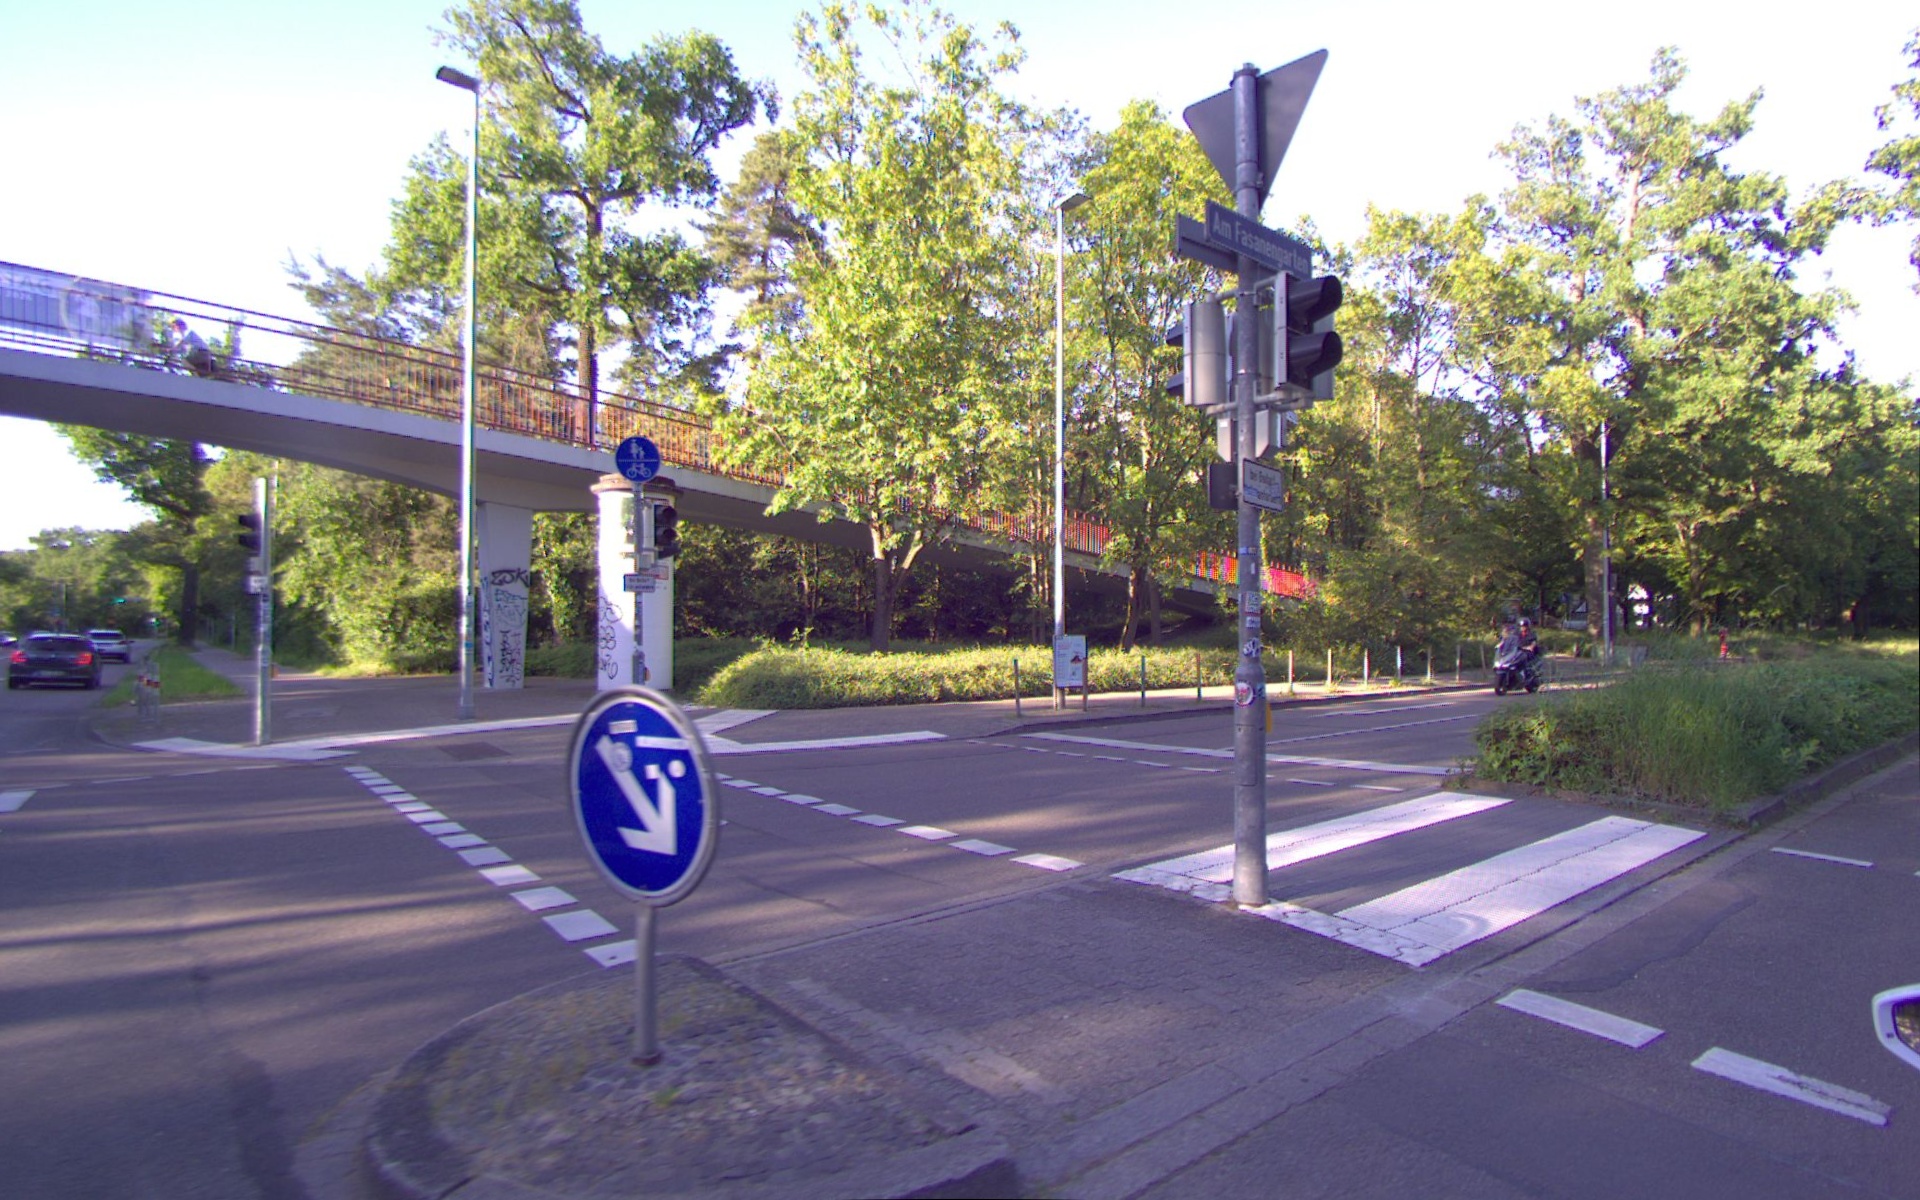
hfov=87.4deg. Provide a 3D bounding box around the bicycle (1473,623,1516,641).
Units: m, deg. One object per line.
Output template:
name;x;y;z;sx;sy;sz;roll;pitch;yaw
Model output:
bicycle;34.023;2.046;63.954;2.381;1.086;0.537;1;2;0

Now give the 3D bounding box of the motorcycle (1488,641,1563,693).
motorcycle;12.598;1.471;22.346;2.265;1.083;0.519;1;-2;-35

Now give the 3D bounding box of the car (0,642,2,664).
car;-55.379;3.000;56.740;1.453;1.260;3.956;1;-2;-38

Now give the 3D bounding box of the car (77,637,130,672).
car;-40.660;2.577;47.740;1.668;1.543;3.859;4;-4;-38

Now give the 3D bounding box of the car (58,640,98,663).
car;-59.460;3.469;67.769;1.741;1.475;3.600;4;-4;-38

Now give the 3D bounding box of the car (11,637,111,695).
car;-24.644;1.781;27.647;1.698;1.472;3.601;4;-4;-38

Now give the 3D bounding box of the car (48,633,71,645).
car;-115.812;5.031;129.198;1.880;1.519;4.347;2;-3;-39

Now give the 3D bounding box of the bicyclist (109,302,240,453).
bicyclist;-14.735;-4.104;18.882;1.671;2.196;1.396;8;-6;-39

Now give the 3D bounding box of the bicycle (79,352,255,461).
bicycle;-14.701;-3.545;18.741;2.426;1.390;1.041;6;-4;-36

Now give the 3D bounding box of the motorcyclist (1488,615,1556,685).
motorcyclist;12.490;1.098;22.328;1.059;1.490;0.943;1;-2;-34
